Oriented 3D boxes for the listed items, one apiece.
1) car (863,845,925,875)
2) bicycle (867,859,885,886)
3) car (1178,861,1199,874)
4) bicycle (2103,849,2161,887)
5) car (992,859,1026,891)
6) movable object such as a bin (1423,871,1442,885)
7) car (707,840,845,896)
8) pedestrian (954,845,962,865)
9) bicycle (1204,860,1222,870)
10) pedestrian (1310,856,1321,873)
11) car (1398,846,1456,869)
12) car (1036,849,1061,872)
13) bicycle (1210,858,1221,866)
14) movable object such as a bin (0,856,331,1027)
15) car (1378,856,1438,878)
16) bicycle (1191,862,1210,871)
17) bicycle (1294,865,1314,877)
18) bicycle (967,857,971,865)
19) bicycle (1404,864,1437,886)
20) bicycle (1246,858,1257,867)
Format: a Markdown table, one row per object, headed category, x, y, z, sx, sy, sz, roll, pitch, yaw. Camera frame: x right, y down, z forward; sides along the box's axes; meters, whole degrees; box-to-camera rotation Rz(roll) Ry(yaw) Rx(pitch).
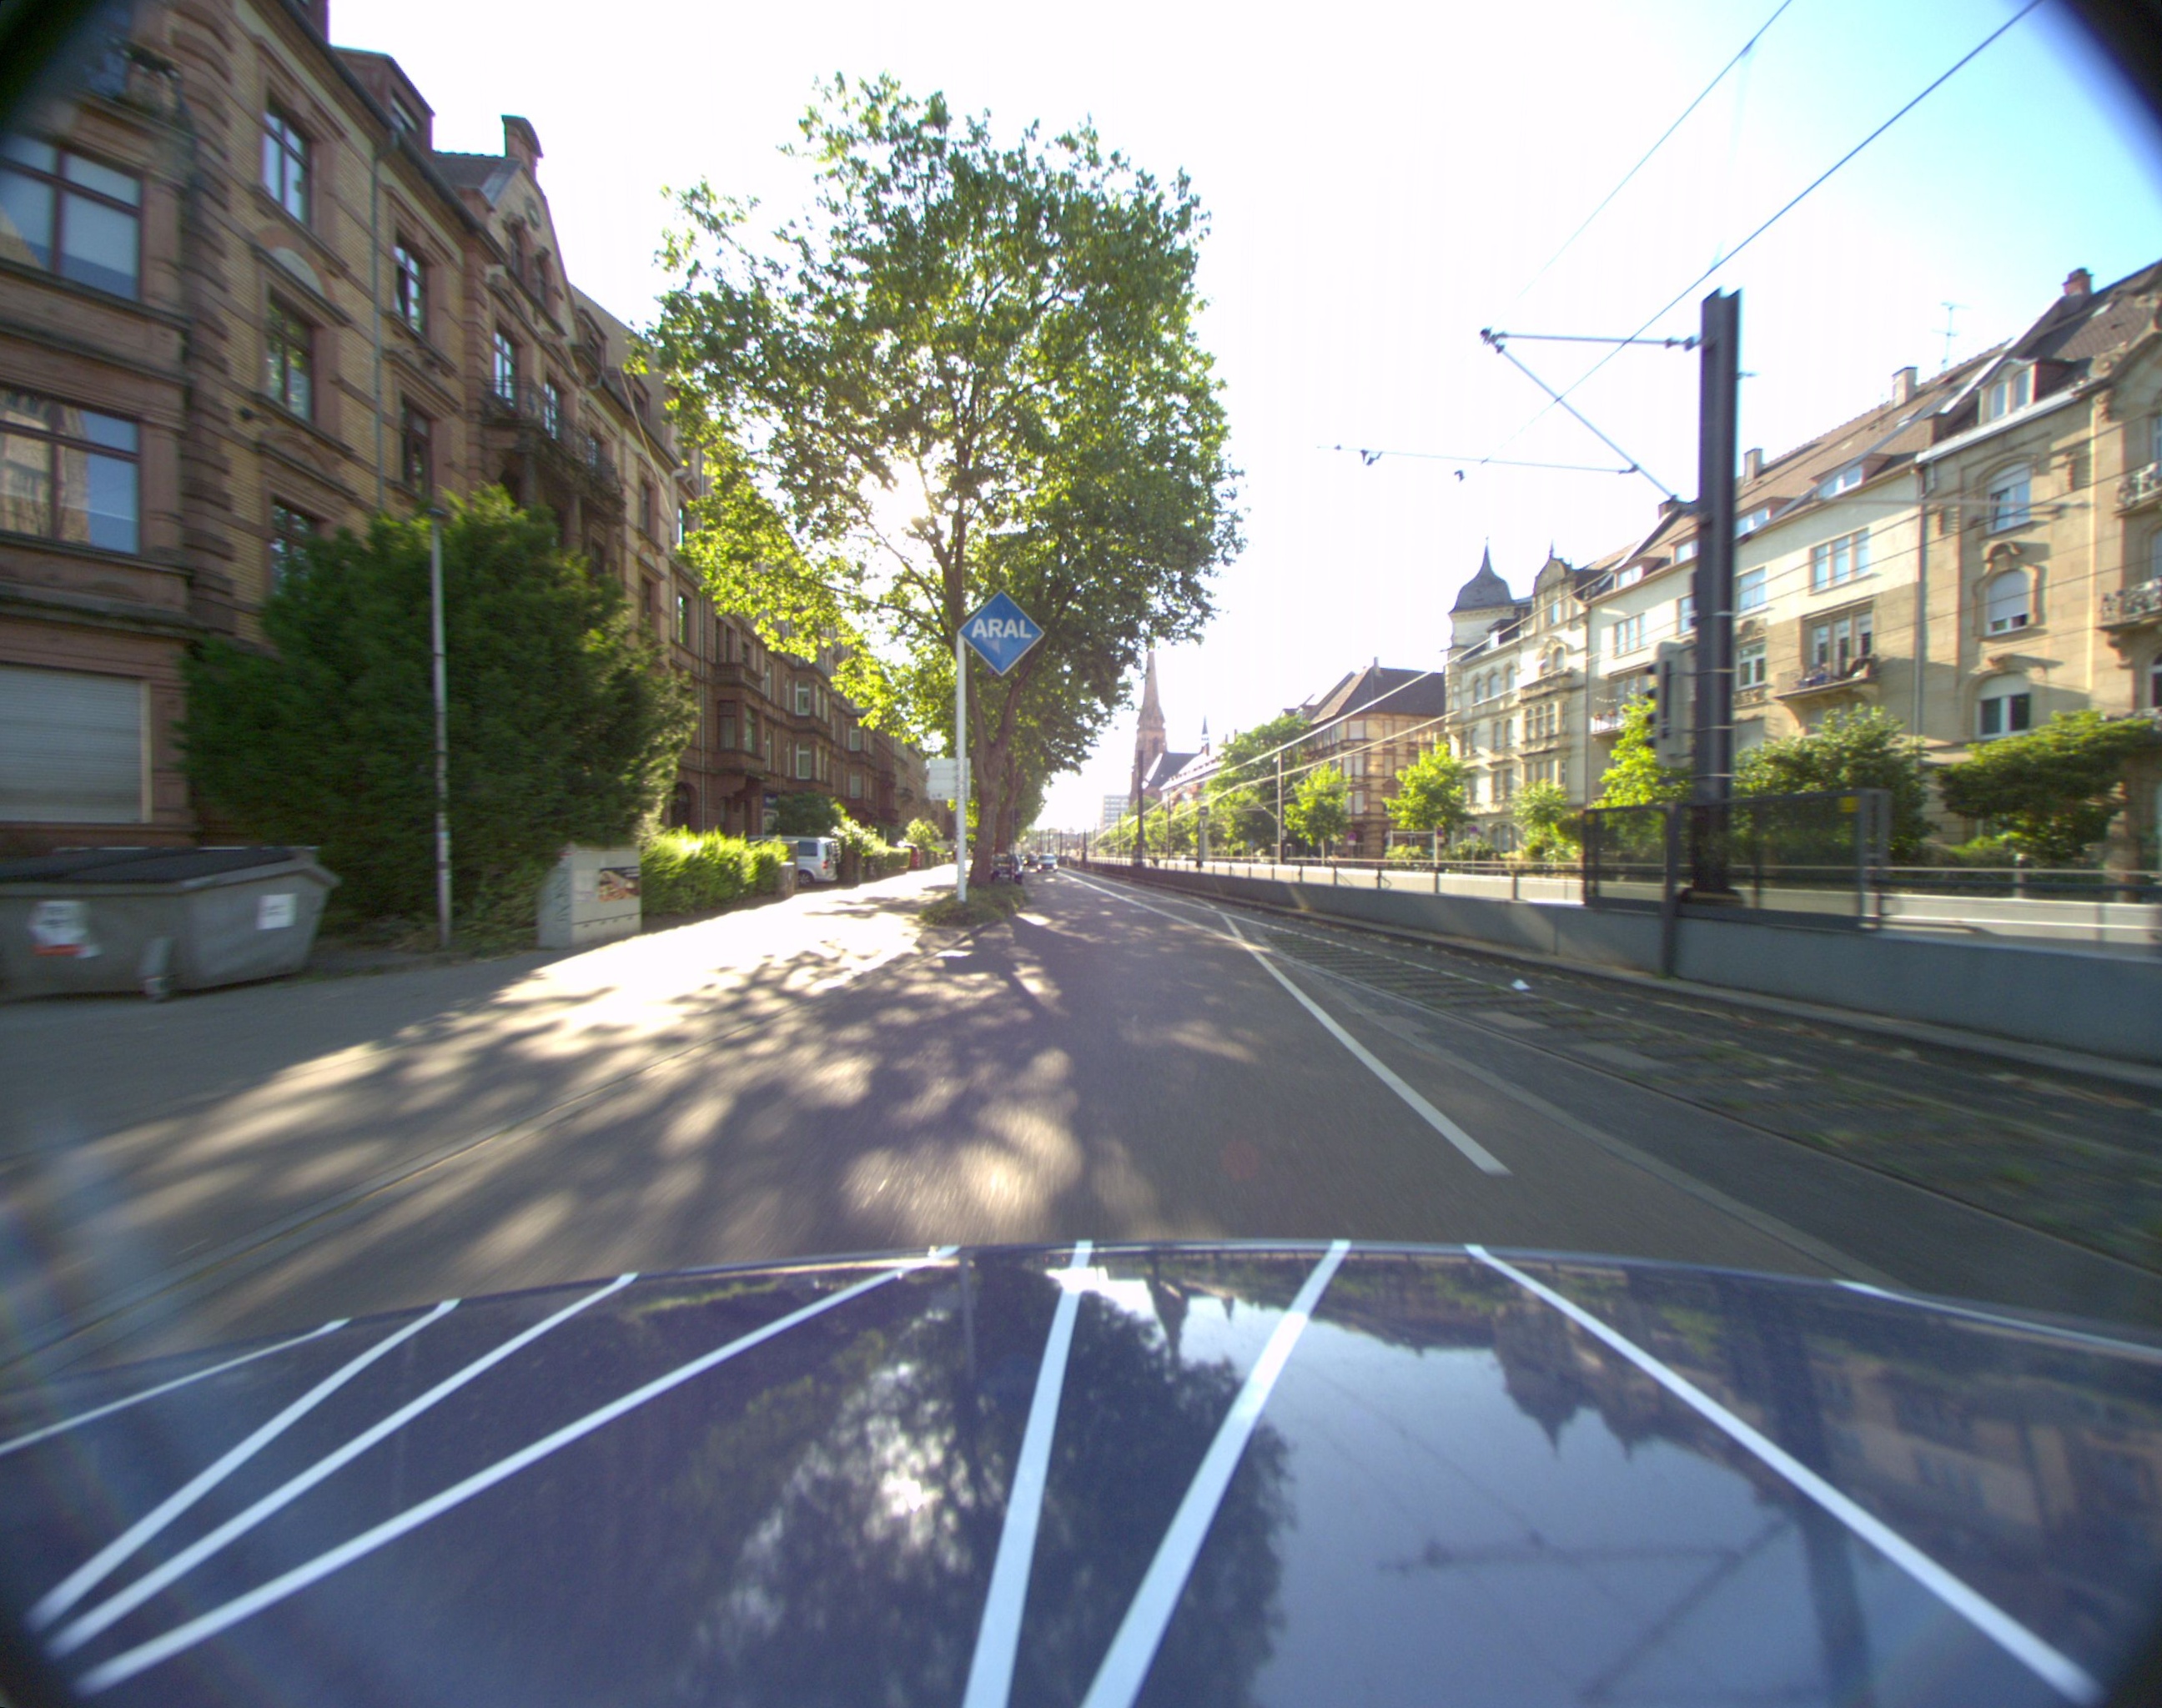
| category | x | y | z | sx | sy | sz | roll | pitch | yaw |
| --- | --- | --- | --- | --- | --- | --- | --- | --- | --- |
| car | -13.910 | 0.448 | 56.590 | 4.189 | 2.002 | 1.999 | 3 | 0 | -7 |
| bicycle | -9.794 | 0.860 | 36.338 | 0.338 | 1.242 | 1.766 | -2 | 0 | -1 |
| car | 14.858 | 1.861 | 104.913 | 1.838 | 1.576 | 3.997 | -2 | 0 | -7 |
| bicycle | 29.540 | 0.371 | 20.691 | 0.506 | 1.012 | 2.111 | -2 | 0 | -1 |
| car | -3.658 | 1.026 | 38.499 | 1.556 | 1.490 | 4.048 | 1 | 0 | -6 |
| movable object such as a bin | 23.617 | 1.604 | 51.066 | 0.899 | 0.914 | 0.783 | -2 | 0 | -11 |
| car | -11.842 | 0.542 | 29.772 | 4.586 | 2.002 | 1.913 | 2 | 0 | -6 |
| pedestrian | -12.326 | 0.062 | 76.128 | 0.675 | 2.002 | 0.633 | 0 | 0 | -6 |
| bicycle | 16.145 | 1.351 | 92.761 | 2.380 | 1.092 | 0.556 | -2 | 1 | -35 |
| pedestrian | 23.753 | 1.088 | 76.938 | 0.721 | 1.679 | 0.864 | -2 | 1 | 1 |
| car | 29.623 | 0.325 | 65.232 | 2.001 | 1.838 | 4.474 | -2 | 0 | -17 |
| car | -2.676 | 0.542 | 64.266 | 1.823 | 1.728 | 4.000 | 5 | -1 | 0 |
| bicycle | 16.285 | 0.984 | 92.153 | 1.271 | 0.900 | 0.538 | -2 | 1 | -35 |
| movable object such as a bin | -9.233 | 0.757 | 7.444 | 2.042 | 1.482 | 1.744 | 0 | 0 | -9 |
| car | 25.460 | 0.976 | 59.250 | 4.002 | 1.615 | 1.823 | -1 | 0 | -14 |
| bicycle | 15.311 | 1.577 | 97.172 | 2.792 | 1.092 | 0.641 | -2 | 0 | -38 |
| bicycle | 21.331 | 1.593 | 72.636 | 0.456 | 1.000 | 1.938 | -3 | 4 | -36 |
| bicycle | -16.258 | 1.033 | 110.015 | 0.476 | 1.136 | 1.895 | 2 | 0 | -5 |
| bicycle | 20.420 | 1.254 | 45.728 | 1.735 | 1.272 | 0.599 | 0 | 1 | 1 |
| bicycle | 20.022 | 1.009 | 89.325 | 0.557 | 1.092 | 2.374 | -2 | 0 | -5 |
